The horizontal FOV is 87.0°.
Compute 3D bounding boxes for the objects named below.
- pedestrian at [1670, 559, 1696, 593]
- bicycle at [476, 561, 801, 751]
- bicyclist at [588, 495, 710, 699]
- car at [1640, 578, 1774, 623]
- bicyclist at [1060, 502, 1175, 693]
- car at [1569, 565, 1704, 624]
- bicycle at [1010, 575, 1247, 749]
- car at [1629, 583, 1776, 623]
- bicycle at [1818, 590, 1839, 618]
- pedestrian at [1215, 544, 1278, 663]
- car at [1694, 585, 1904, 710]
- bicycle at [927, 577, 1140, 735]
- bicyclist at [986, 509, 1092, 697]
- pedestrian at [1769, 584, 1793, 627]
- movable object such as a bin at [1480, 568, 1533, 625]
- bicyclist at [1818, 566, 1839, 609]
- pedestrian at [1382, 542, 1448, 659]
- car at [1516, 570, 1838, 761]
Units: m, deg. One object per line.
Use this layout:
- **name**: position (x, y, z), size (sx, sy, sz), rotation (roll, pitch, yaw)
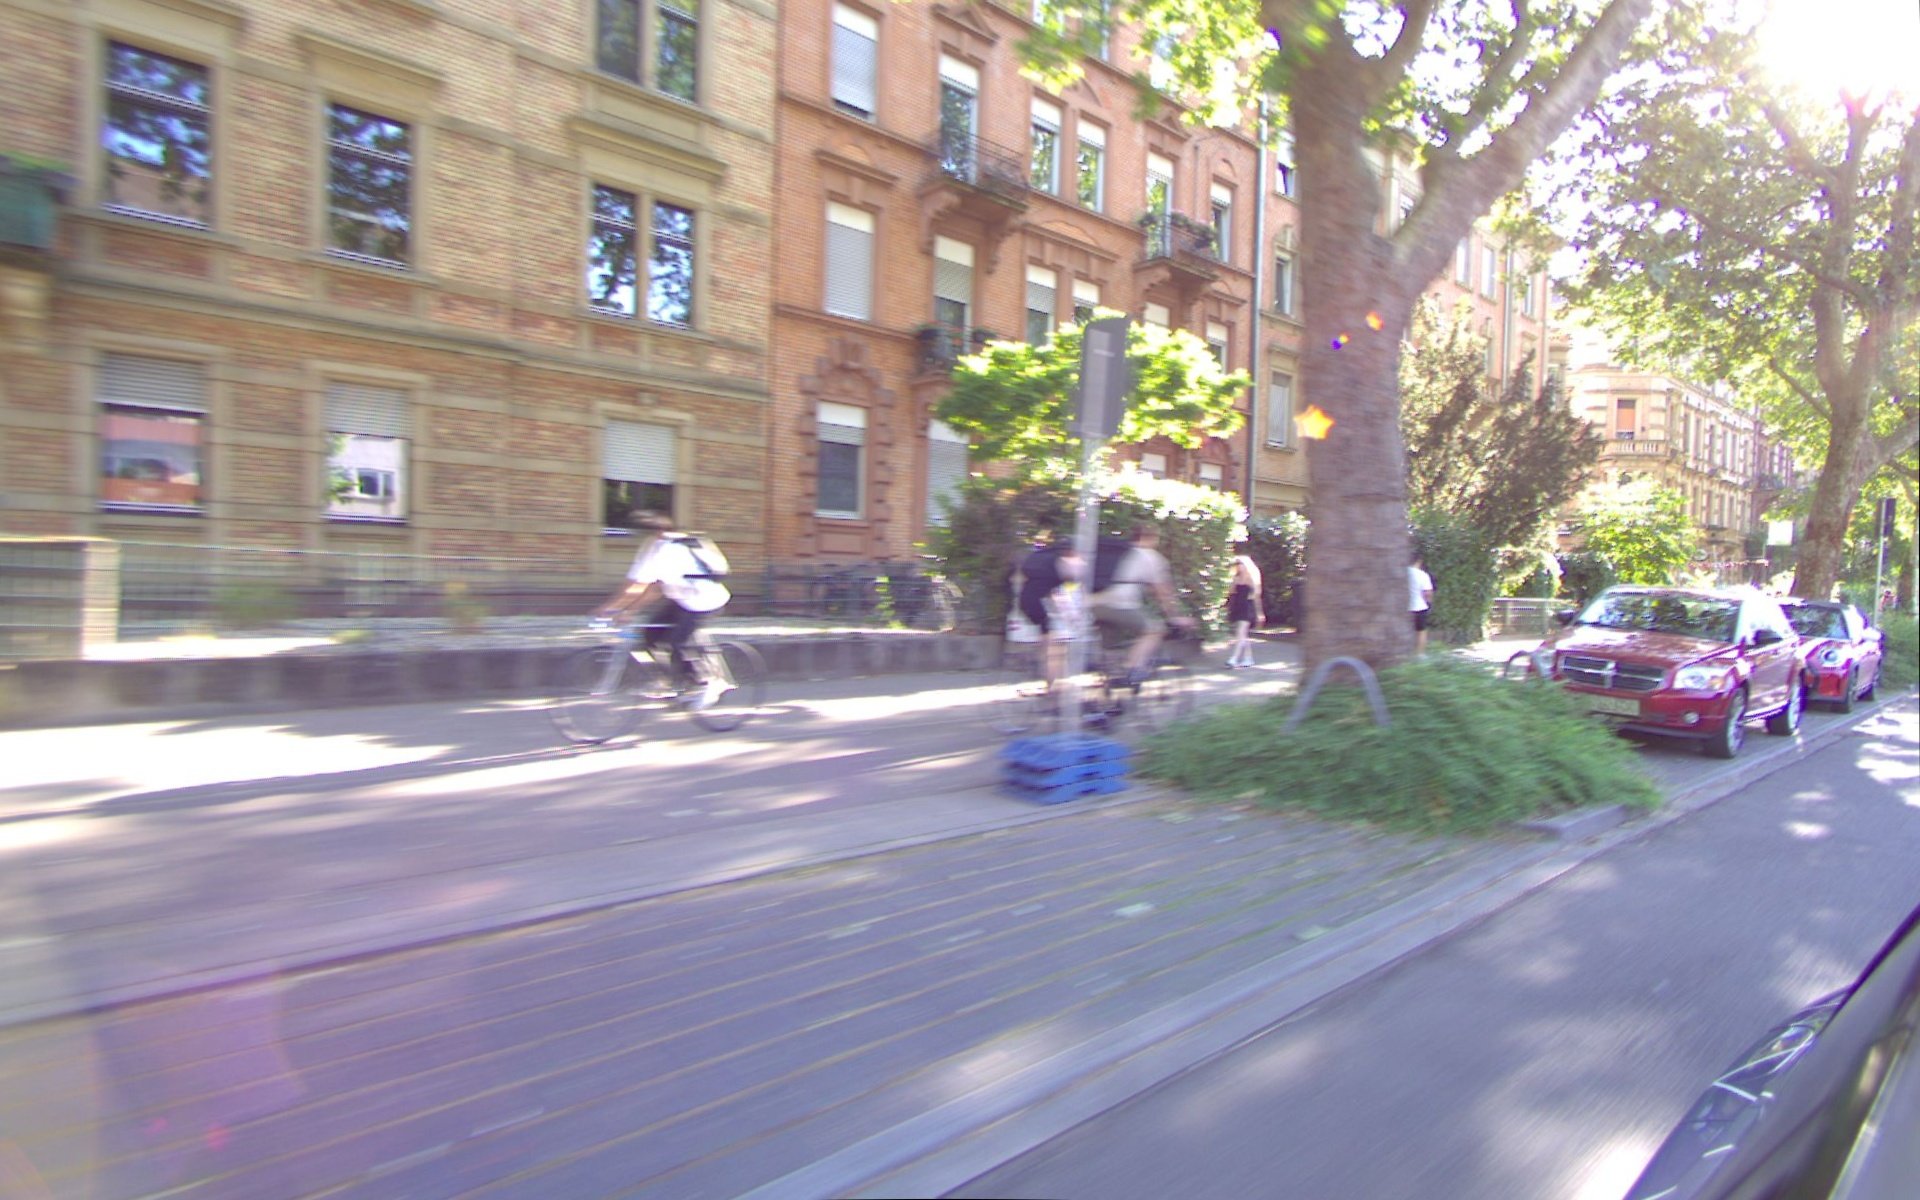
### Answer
- **pedestrian**: position (34.517, -1.140, 48.325), size (0.884, 1.611, 0.862), rotation (-1, -1, 43)
- **bicycle**: position (-2.252, 0.355, 7.339), size (2.188, 1.193, 0.561), rotation (1, 2, -42)
- **bicyclist**: position (-2.252, -0.028, 7.323), size (0.633, 1.397, 0.544), rotation (2, 1, -42)
- **car**: position (33.644, -0.023, 45.704), size (1.874, 1.869, 4.556), rotation (0, 2, -41)
- **bicyclist**: position (1.215, -0.032, 7.818), size (0.633, 1.397, 0.570), rotation (0, 2, -41)
- **car**: position (26.557, -0.241, 39.821), size (1.965, 2.039, 3.993), rotation (4, 0, -42)
- **bicycle**: position (1.399, 0.417, 8.043), size (2.188, 1.192, 0.562), rotation (-1, 5, -42)
- **car**: position (30.368, 0.156, 41.498), size (1.875, 1.559, 4.553), rotation (0, -1, -42)
- **bicycle**: position (34.037, 0.171, 39.644), size (0.560, 1.050, 1.903), rotation (2, 0, 42)
- **pedestrian**: position (4.113, 0.039, 14.518), size (0.607, 1.647, 0.531), rotation (2, 2, -40)
- **car**: position (12.161, 0.566, 14.586), size (3.931, 1.480, 1.717), rotation (-1, 3, -42)
- **bicycle**: position (0.666, 0.405, 8.535), size (1.987, 1.193, 0.561), rotation (-1, 2, -42)
- **bicyclist**: position (0.665, 0.013, 8.501), size (0.633, 1.505, 0.570), rotation (0, 2, -41)
- **pedestrian**: position (30.506, 0.208, 37.592), size (0.596, 1.569, 0.540), rotation (3, 0, -42)
- **movable object such as a bin**: position (15.132, -0.103, 28.001), size (1.065, 1.482, 0.908), rotation (0, 3, -42)
- **bicyclist**: position (34.067, -0.487, 39.707), size (0.543, 1.645, 0.634), rotation (4, 2, 43)
- **pedestrian**: position (7.233, 0.002, 16.098), size (0.633, 1.807, 0.690), rotation (2, 1, -42)
- **car**: position (7.713, 0.508, 10.721), size (4.422, 1.567, 1.718), rotation (-1, 4, -41)
